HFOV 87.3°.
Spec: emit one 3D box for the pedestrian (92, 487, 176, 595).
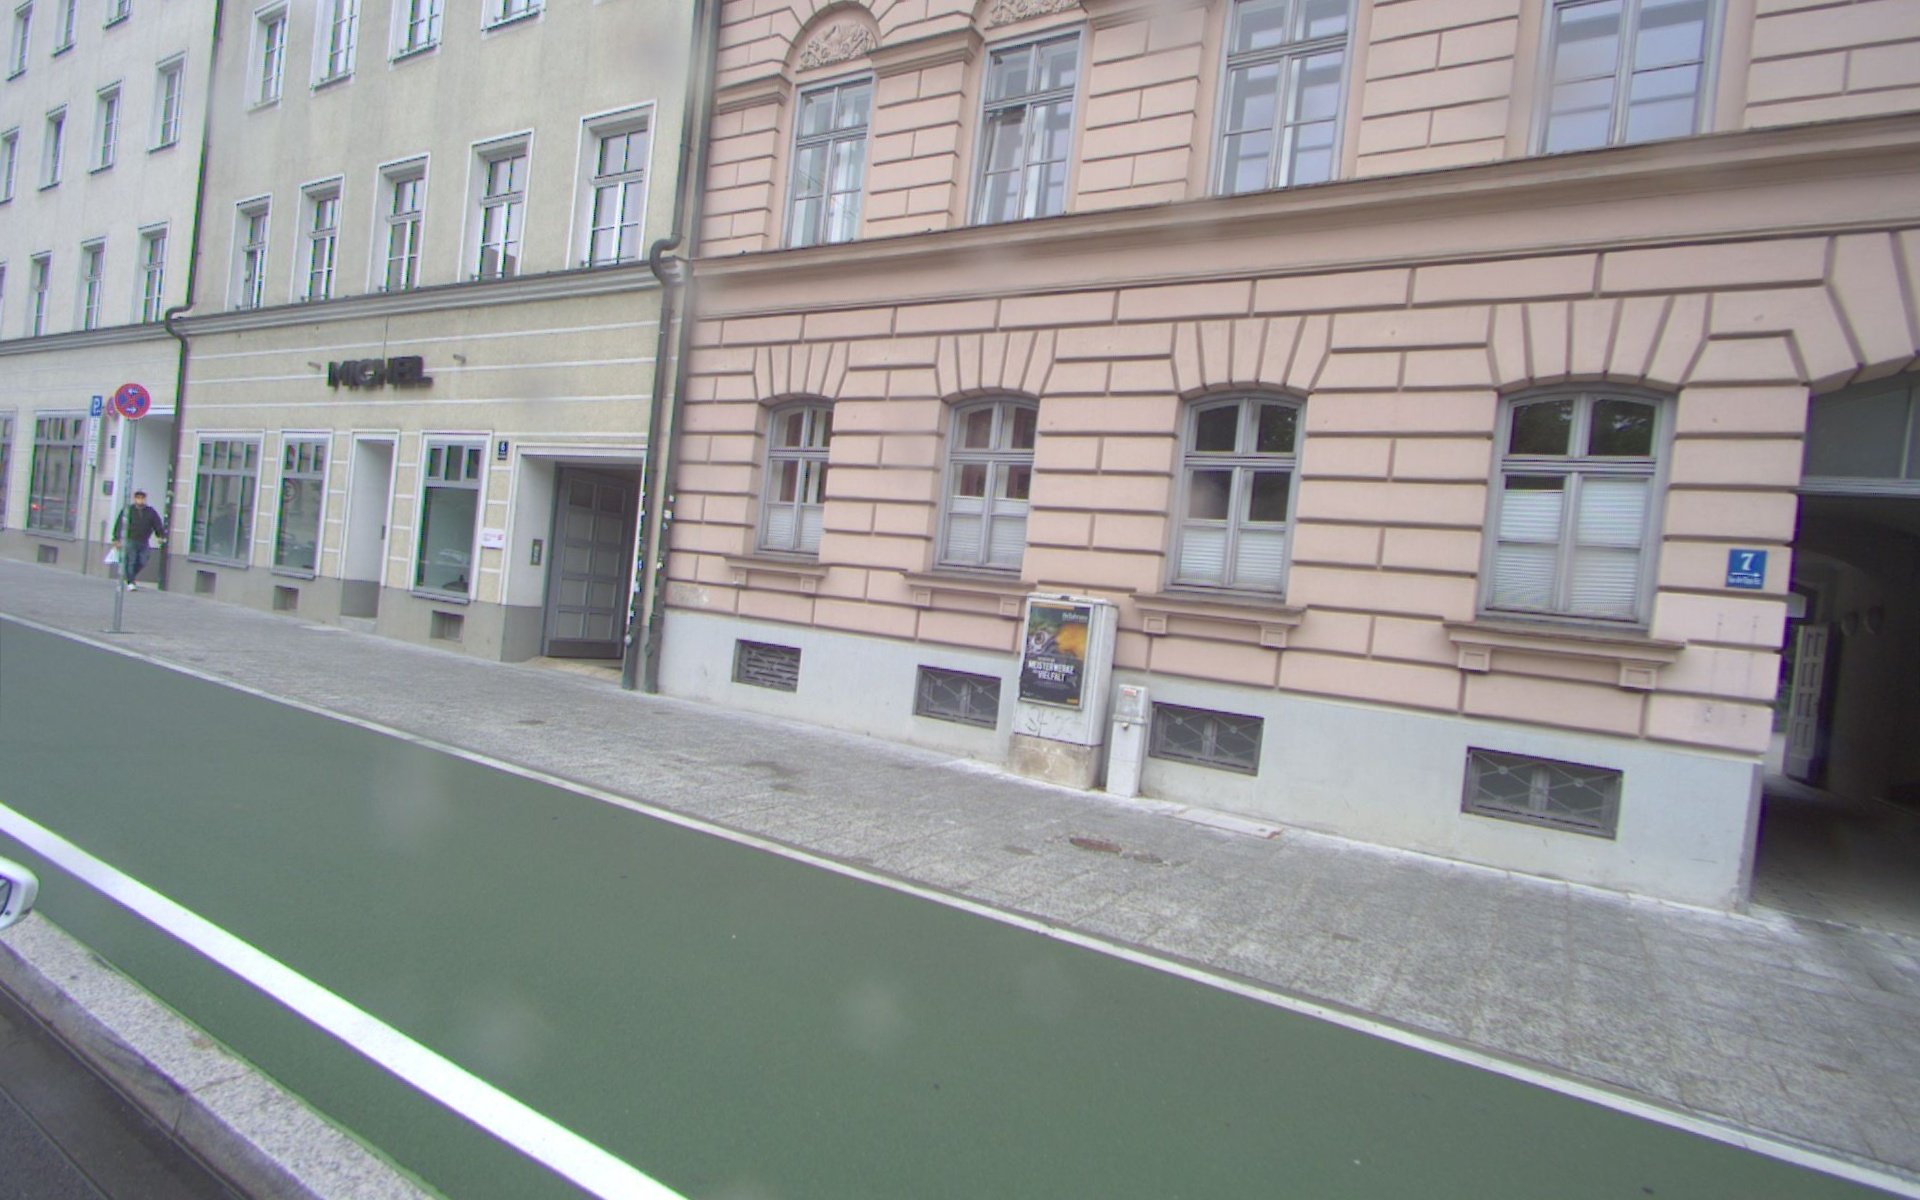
[{"bbox_3d":[-14.478,-1.025,17.640,0.819,1.767,0.794,7,1,32],"label":"pedestrian"}]
